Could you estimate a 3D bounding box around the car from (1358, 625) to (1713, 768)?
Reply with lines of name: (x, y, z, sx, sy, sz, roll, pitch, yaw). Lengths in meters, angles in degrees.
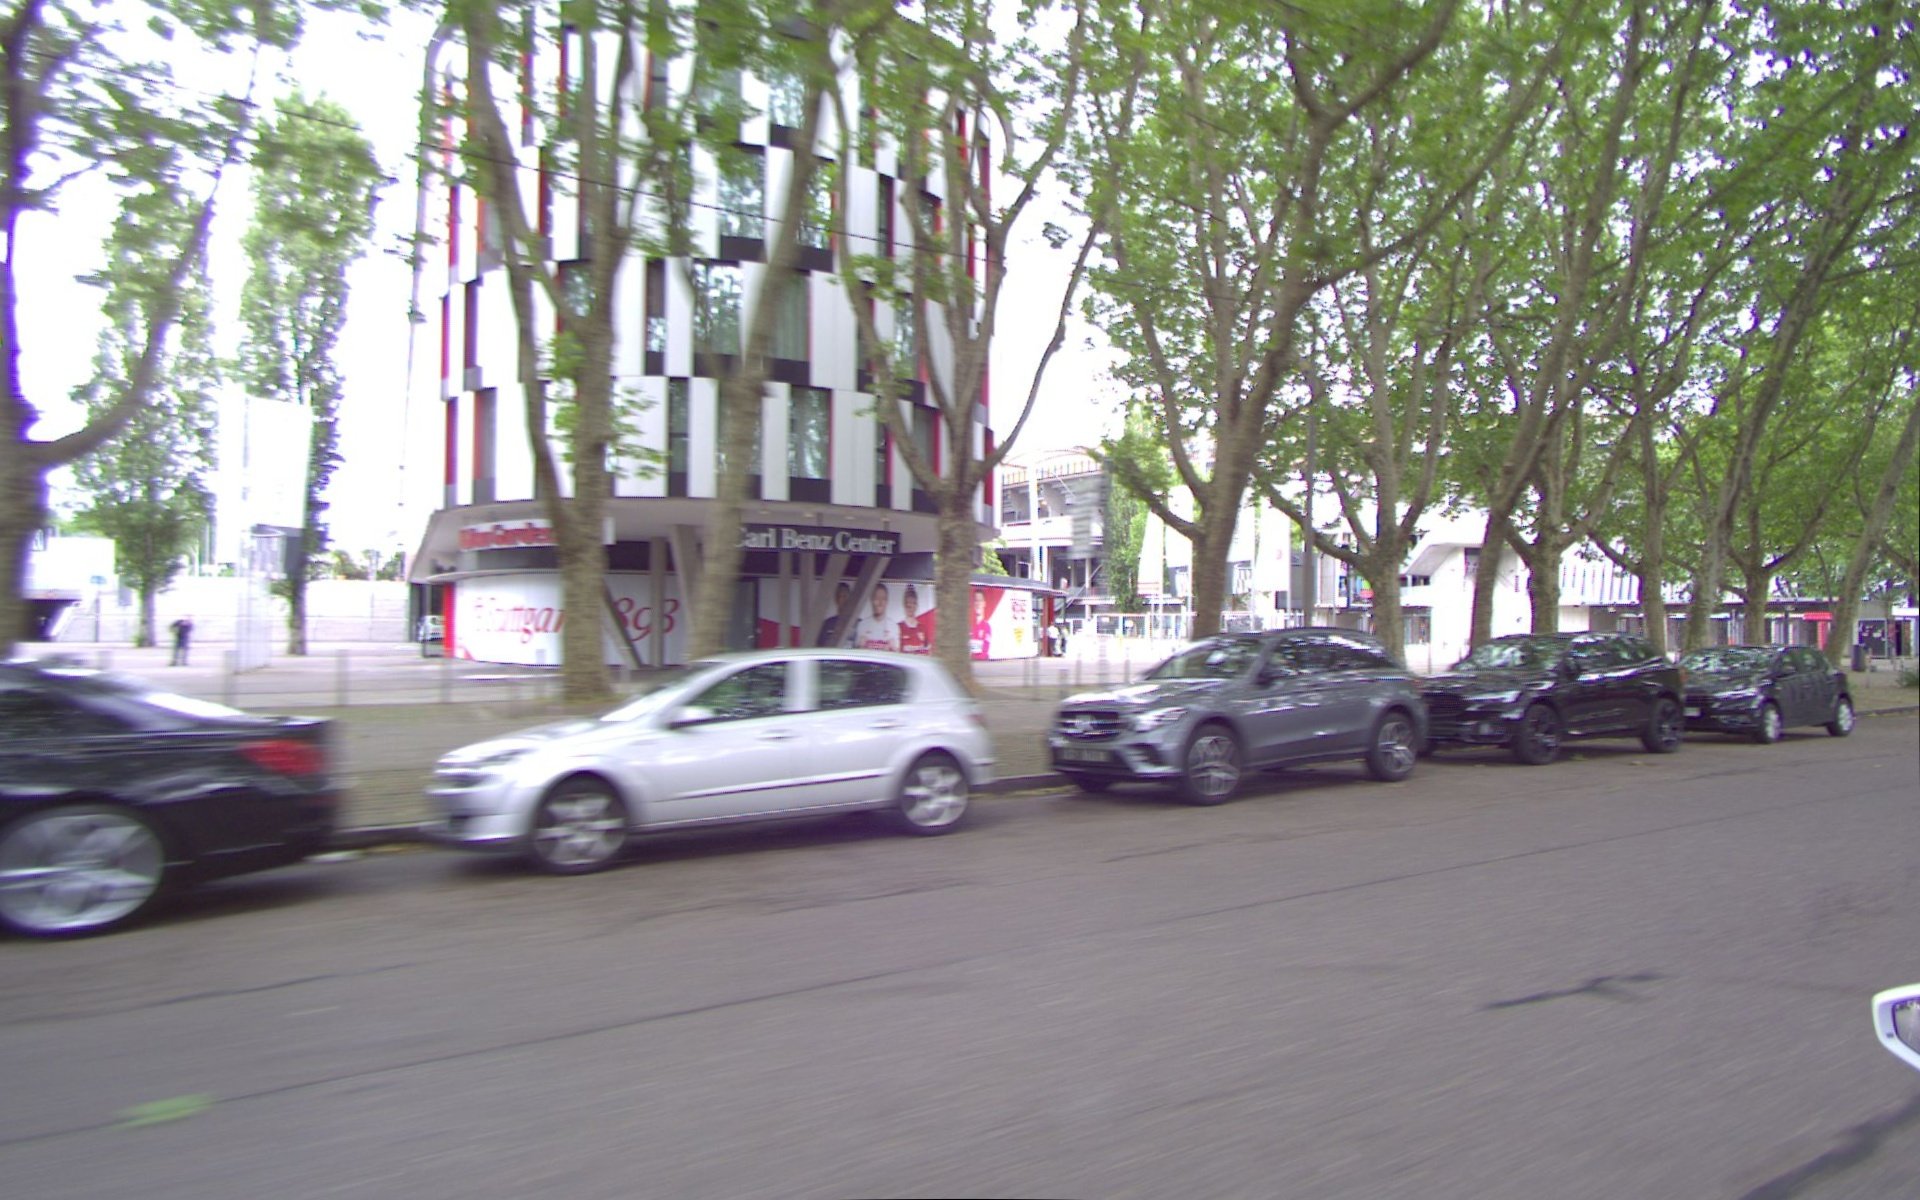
car: (7.902, 1.237, 13.706, 4.868, 1.664, 1.930, 1, -5, -29)

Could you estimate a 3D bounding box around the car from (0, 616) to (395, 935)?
car: (-5.966, 0.885, 5.361, 5.082, 1.550, 2.075, 1, -3, -29)

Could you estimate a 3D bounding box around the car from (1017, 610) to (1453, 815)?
car: (3.007, 1.083, 10.635, 4.599, 1.740, 1.859, 2, -5, -34)

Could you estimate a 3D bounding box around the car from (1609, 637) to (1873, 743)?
car: (12.725, 1.404, 16.322, 4.390, 1.513, 1.825, 1, -5, -30)

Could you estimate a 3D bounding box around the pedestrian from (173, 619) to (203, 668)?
pedestrian: (-26.847, 1.506, 34.946, 0.684, 1.712, 0.640, 1, -1, -28)

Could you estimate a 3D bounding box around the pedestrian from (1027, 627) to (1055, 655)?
pedestrian: (4.317, 2.183, 53.530, 1.099, 1.481, 1.038, 1, -2, -32)

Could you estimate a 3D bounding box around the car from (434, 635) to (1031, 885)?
car: (-1.694, 1.060, 7.827, 4.180, 1.474, 1.825, 1, -5, -30)

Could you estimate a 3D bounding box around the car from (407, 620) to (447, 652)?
car: (-37.745, 2.507, 71.066, 2.284, 2.040, 5.142, -4, 1, -30)
